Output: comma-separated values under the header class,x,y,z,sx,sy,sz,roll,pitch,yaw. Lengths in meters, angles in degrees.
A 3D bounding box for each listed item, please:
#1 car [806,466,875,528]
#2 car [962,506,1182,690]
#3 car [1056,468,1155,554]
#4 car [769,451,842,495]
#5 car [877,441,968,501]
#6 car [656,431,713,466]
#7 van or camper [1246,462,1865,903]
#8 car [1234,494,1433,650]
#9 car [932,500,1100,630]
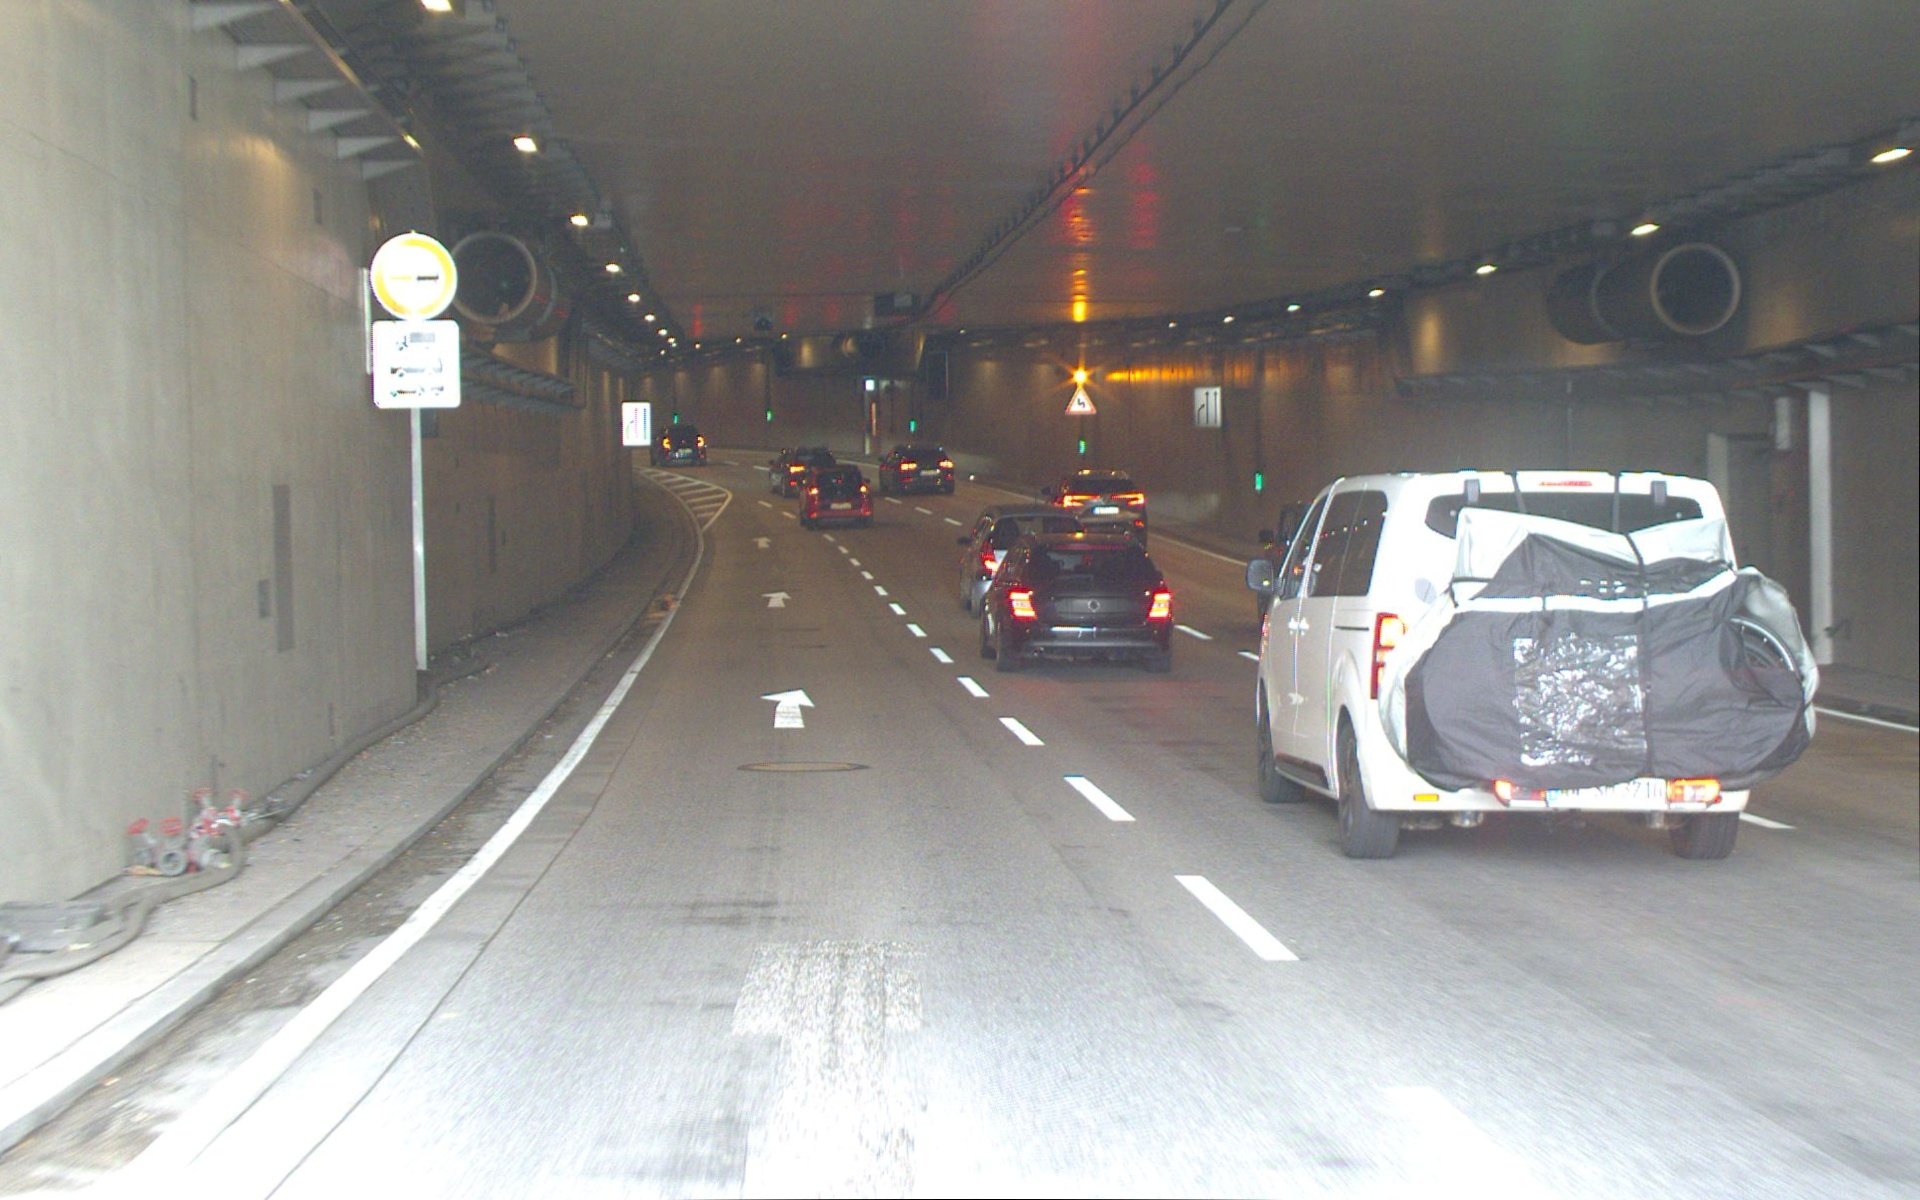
class,x,y,z,sx,sy,sz,roll,pitch,yaw
car,-2.973,-2.527,85.037,1.660,1.483,3.568,0,1,-3
car,1.091,-0.070,35.295,1.818,1.678,4.001,1,2,-4
car,2.987,-1.861,71.274,1.660,1.628,3.568,3,2,-3
car,-4.560,-3.733,101.129,1.663,1.242,3.568,0,1,-10
car,-1.126,-3.764,100.780,1.989,1.670,4.510,0,1,-10
car,-10.116,-5.545,125.944,1.508,1.242,3.568,-1,2,-14
van or camper,2.765,0.310,17.392,1.993,1.839,5.508,1,1,-2
car,4.718,-0.402,43.984,1.818,1.743,4.001,3,2,-3
car,0.741,-0.530,48.355,1.818,1.575,4.001,3,2,-6
